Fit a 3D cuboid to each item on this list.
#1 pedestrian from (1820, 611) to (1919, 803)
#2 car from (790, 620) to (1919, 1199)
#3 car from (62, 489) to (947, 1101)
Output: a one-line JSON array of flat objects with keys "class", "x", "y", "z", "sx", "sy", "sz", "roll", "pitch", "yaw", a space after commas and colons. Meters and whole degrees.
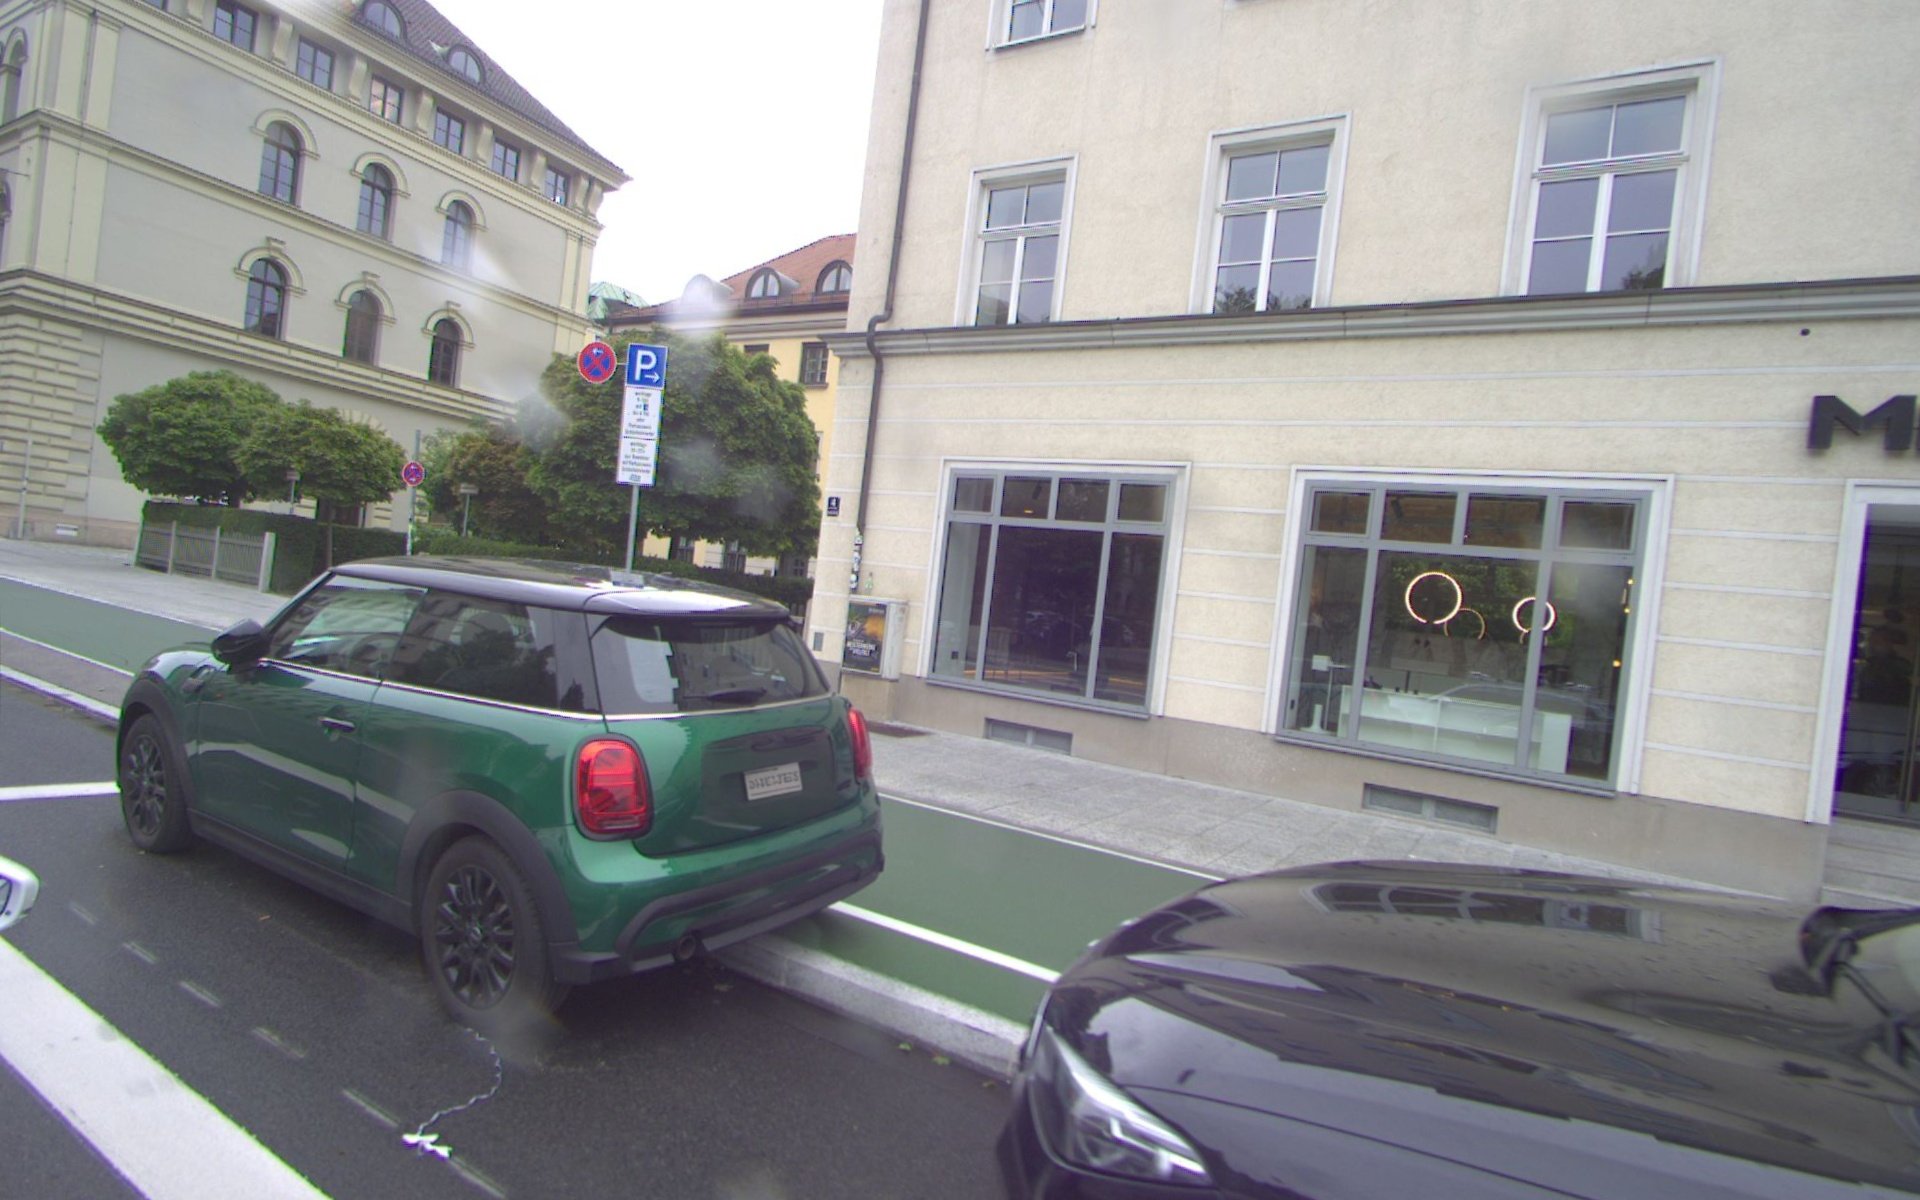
[{"class": "pedestrian", "x": 8.971, "y": 1.019, "z": 9.683, "sx": 0.768, "sy": 1.710, "sz": 0.859, "roll": 7, "pitch": 1, "yaw": 33}, {"class": "car", "x": 2.158, "y": 1.060, "z": 1.255, "sx": 4.642, "sy": 1.424, "sz": 1.829, "roll": 7, "pitch": -2, "yaw": 33}, {"class": "car", "x": -2.160, "y": 0.501, "z": 4.477, "sx": 3.767, "sy": 1.538, "sz": 1.678, "roll": 7, "pitch": -1, "yaw": 33}]
